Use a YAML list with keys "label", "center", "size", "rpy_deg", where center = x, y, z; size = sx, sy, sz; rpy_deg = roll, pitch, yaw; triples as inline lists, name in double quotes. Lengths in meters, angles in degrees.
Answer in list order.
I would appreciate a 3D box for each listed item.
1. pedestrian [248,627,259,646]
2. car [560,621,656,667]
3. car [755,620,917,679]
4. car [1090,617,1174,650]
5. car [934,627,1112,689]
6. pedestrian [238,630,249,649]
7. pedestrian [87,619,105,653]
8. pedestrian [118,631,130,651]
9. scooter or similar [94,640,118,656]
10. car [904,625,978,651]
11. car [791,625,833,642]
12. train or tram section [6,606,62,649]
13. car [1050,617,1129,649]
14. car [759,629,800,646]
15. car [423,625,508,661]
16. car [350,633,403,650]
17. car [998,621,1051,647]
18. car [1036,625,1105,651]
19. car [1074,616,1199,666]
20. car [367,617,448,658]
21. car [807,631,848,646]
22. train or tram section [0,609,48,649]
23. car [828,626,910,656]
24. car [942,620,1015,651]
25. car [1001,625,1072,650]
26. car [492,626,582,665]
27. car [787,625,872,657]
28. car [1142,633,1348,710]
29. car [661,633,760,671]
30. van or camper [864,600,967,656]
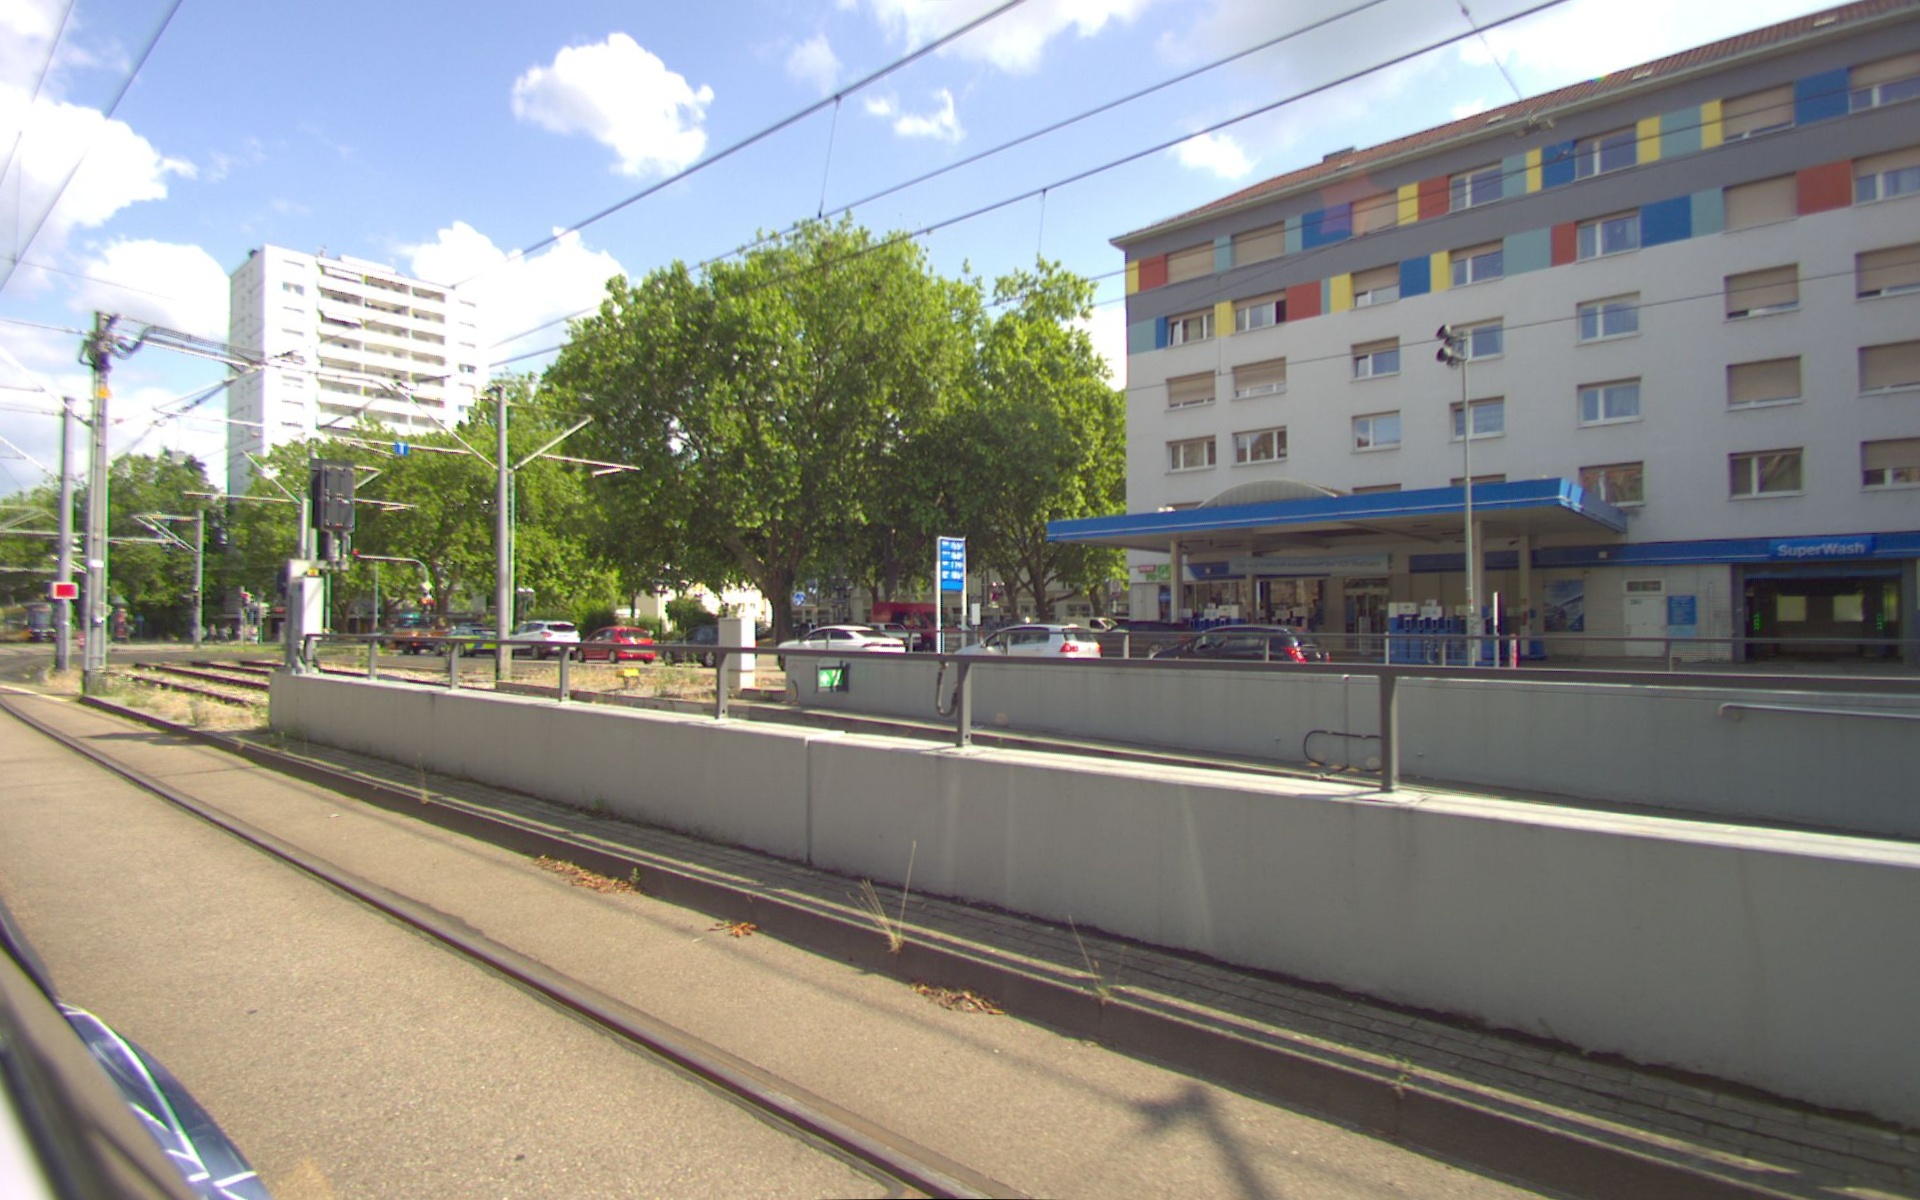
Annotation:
- label: "pedestrian"
  center: [-62.763, 3.234, 89.941]
  size: [0.648, 1.716, 0.662]
  rpy_deg: [-2, -3, 44]
- label: "car"
  center: [-13.587, 1.718, 38.951]
  size: [4.141, 1.619, 1.694]
  rpy_deg: [-4, -4, 41]
- label: "car"
  center: [-3.788, 1.445, 30.317]
  size: [5.074, 1.619, 1.926]
  rpy_deg: [-2, -3, 41]
- label: "car"
  center: [11.575, 2.279, 68.285]
  size: [5.244, 2.102, 1.975]
  rpy_deg: [-2, -5, 37]
- label: "car"
  center: [1.501, 1.440, 25.481]
  size: [4.405, 1.427, 1.703]
  rpy_deg: [-2, -4, 43]
- label: "pedestrian"
  center: [-64.348, 3.525, 90.863]
  size: [0.648, 1.716, 0.662]
  rpy_deg: [-2, -3, 44]
- label: "pedestrian"
  center: [-44.285, 1.840, 51.879]
  size: [0.556, 1.746, 0.521]
  rpy_deg: [-2, -4, 36]
- label: "pedestrian"
  center: [-69.337, 3.392, 83.918]
  size: [0.648, 1.716, 0.662]
  rpy_deg: [-2, -3, 44]
- label: "scooter or similar"
  center: [-44.038, 2.473, 52.183]
  size: [0.553, 0.810, 0.830]
  rpy_deg: [-2, -2, 37]
- label: "car"
  center: [-1.042, 2.058, 54.158]
  size: [3.997, 1.304, 1.458]
  rpy_deg: [-2, -5, 41]
- label: "car"
  center: [-14.907, 3.390, 102.060]
  size: [1.996, 1.697, 3.951]
  rpy_deg: [-2, -2, 36]
- label: "train or tram section"
  center: [-81.092, 2.416, 88.554]
  size: [11.377, 3.588, 2.765]
  rpy_deg: [-2, -2, 43]
- label: "car"
  center: [8.224, 2.126, 64.340]
  size: [4.679, 1.949, 1.973]
  rpy_deg: [-2, -5, 41]
- label: "car"
  center: [-18.770, 3.868, 105.185]
  size: [1.849, 1.672, 4.031]
  rpy_deg: [-2, -2, 38]
- label: "car"
  center: [-23.982, 2.088, 49.011]
  size: [5.151, 1.665, 1.847]
  rpy_deg: [-2, -4, 42]
- label: "car"
  center: [-55.077, 3.911, 95.576]
  size: [1.850, 1.501, 3.967]
  rpy_deg: [-1, -2, 24]
- label: "car"
  center: [5.309, 2.812, 83.118]
  size: [3.872, 2.029, 2.258]
  rpy_deg: [4, -5, -41]
- label: "car"
  center: [6.784, 2.354, 62.302]
  size: [3.997, 1.532, 1.641]
  rpy_deg: [-2, -5, 41]
- label: "car"
  center: [6.164, 1.453, 35.503]
  size: [3.872, 1.619, 1.882]
  rpy_deg: [-4, -4, 41]
- label: "car"
  center: [-29.330, 2.031, 53.668]
  size: [5.333, 2.002, 2.053]
  rpy_deg: [-4, -4, 41]
- label: "car"
  center: [-13.056, 3.800, 99.870]
  size: [1.865, 1.364, 3.895]
  rpy_deg: [-2, -2, 36]
- label: "train or tram section"
  center: [-89.247, 2.804, 96.285]
  size: [11.183, 3.588, 2.775]
  rpy_deg: [-2, -2, 44]
- label: "car"
  center: [-4.520, 2.023, 49.736]
  size: [3.997, 1.421, 1.734]
  rpy_deg: [-2, -3, 41]
- label: "car"
  center: [1.016, 1.978, 55.873]
  size: [3.997, 1.616, 1.510]
  rpy_deg: [-2, -4, 41]
- label: "car"
  center: [4.588, 2.266, 60.746]
  size: [3.997, 1.374, 1.744]
  rpy_deg: [-2, -5, 41]
- label: "car"
  center: [-18.448, 1.963, 44.015]
  size: [4.677, 1.619, 1.741]
  rpy_deg: [-2, -3, 41]
- label: "car"
  center: [-6.177, 1.924, 47.607]
  size: [3.997, 1.421, 1.734]
  rpy_deg: [-2, -3, 41]
- label: "car"
  center: [5.797, 1.406, 20.912]
  size: [1.648, 1.427, 3.786]
  rpy_deg: [1, -3, -43]
- label: "car"
  center: [-8.591, 1.767, 34.739]
  size: [3.633, 1.198, 1.599]
  rpy_deg: [-2, -3, 43]
- label: "van or camper"
  center: [-2.302, 1.485, 51.547]
  size: [5.349, 2.662, 2.079]
  rpy_deg: [-2, -5, 43]
